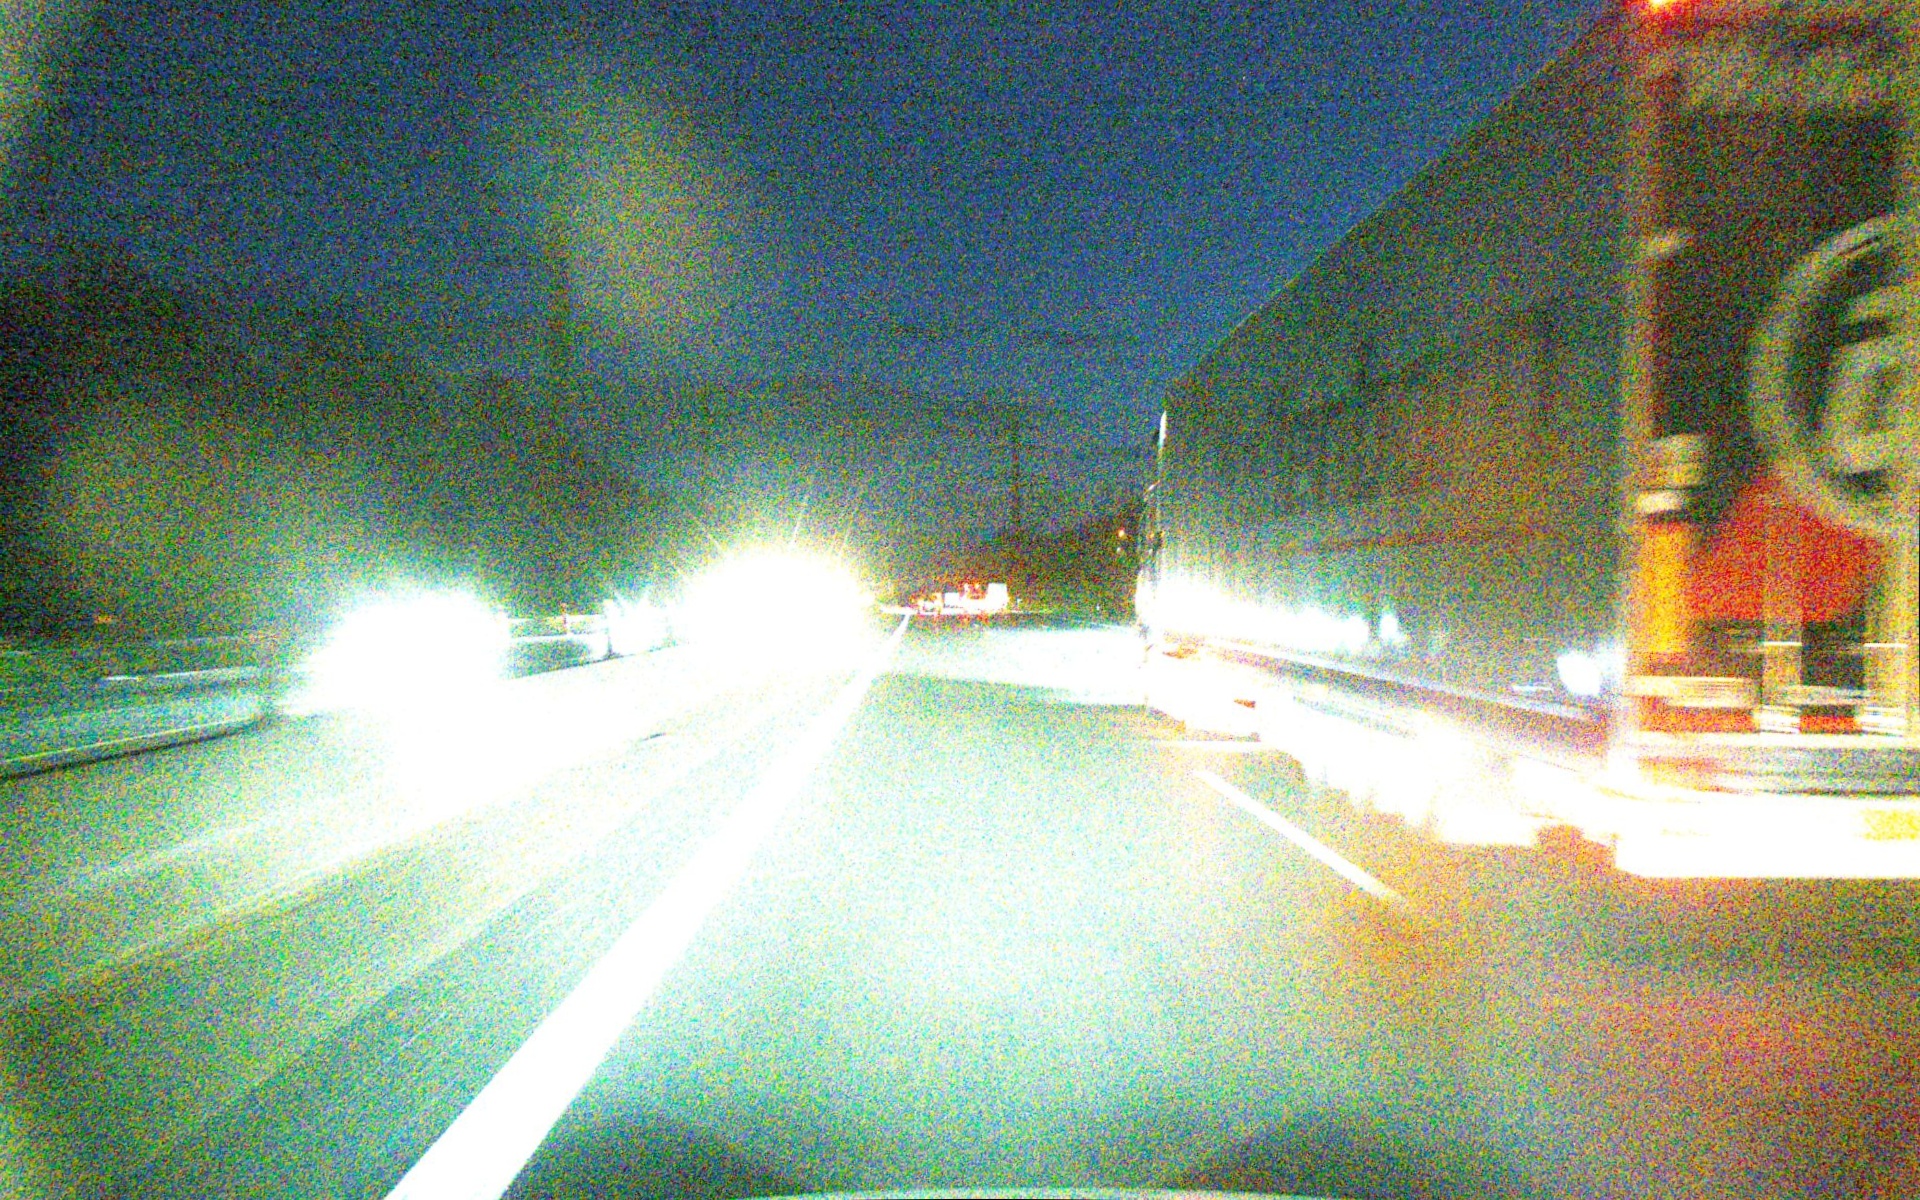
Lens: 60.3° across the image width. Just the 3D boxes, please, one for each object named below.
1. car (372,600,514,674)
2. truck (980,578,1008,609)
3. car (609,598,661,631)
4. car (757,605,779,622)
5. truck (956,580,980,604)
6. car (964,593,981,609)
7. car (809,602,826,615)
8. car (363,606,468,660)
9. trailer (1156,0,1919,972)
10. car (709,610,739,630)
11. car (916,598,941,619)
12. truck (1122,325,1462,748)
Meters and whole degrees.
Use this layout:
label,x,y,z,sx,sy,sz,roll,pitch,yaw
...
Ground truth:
label,x,y,z,sx,sy,sz,roll,pitch,yaw
car,-11.572,0.783,37.348,1.715,1.504,4.762,-2,0,-1
truck,3.279,-0.568,161.161,2.035,2.738,7.301,2,-2,-4
car,-15.901,0.697,81.045,1.715,1.504,4.724,-2,0,-2
car,-17.448,1.206,150.266,1.599,1.419,4.875,-2,0,-2
truck,1.105,-1.093,239.778,2.983,3.383,10.137,2,0,-2
car,1.090,0.078,147.369,1.319,1.411,3.500,2,0,-2
car,-16.801,0.984,195.270,1.715,1.504,4.579,-2,0,-3
car,-16.711,0.978,50.945,1.714,1.504,4.481,-2,0,0
trailer,3.911,-0.654,13.332,2.687,4.280,13.506,1,0,-1
car,-16.841,1.411,118.171,1.629,1.357,4.806,-2,0,-3
car,-2.413,0.620,124.339,1.784,1.492,4.246,2,0,-2
truck,3.746,-0.646,20.349,2.608,4.280,6.721,1,0,-1
